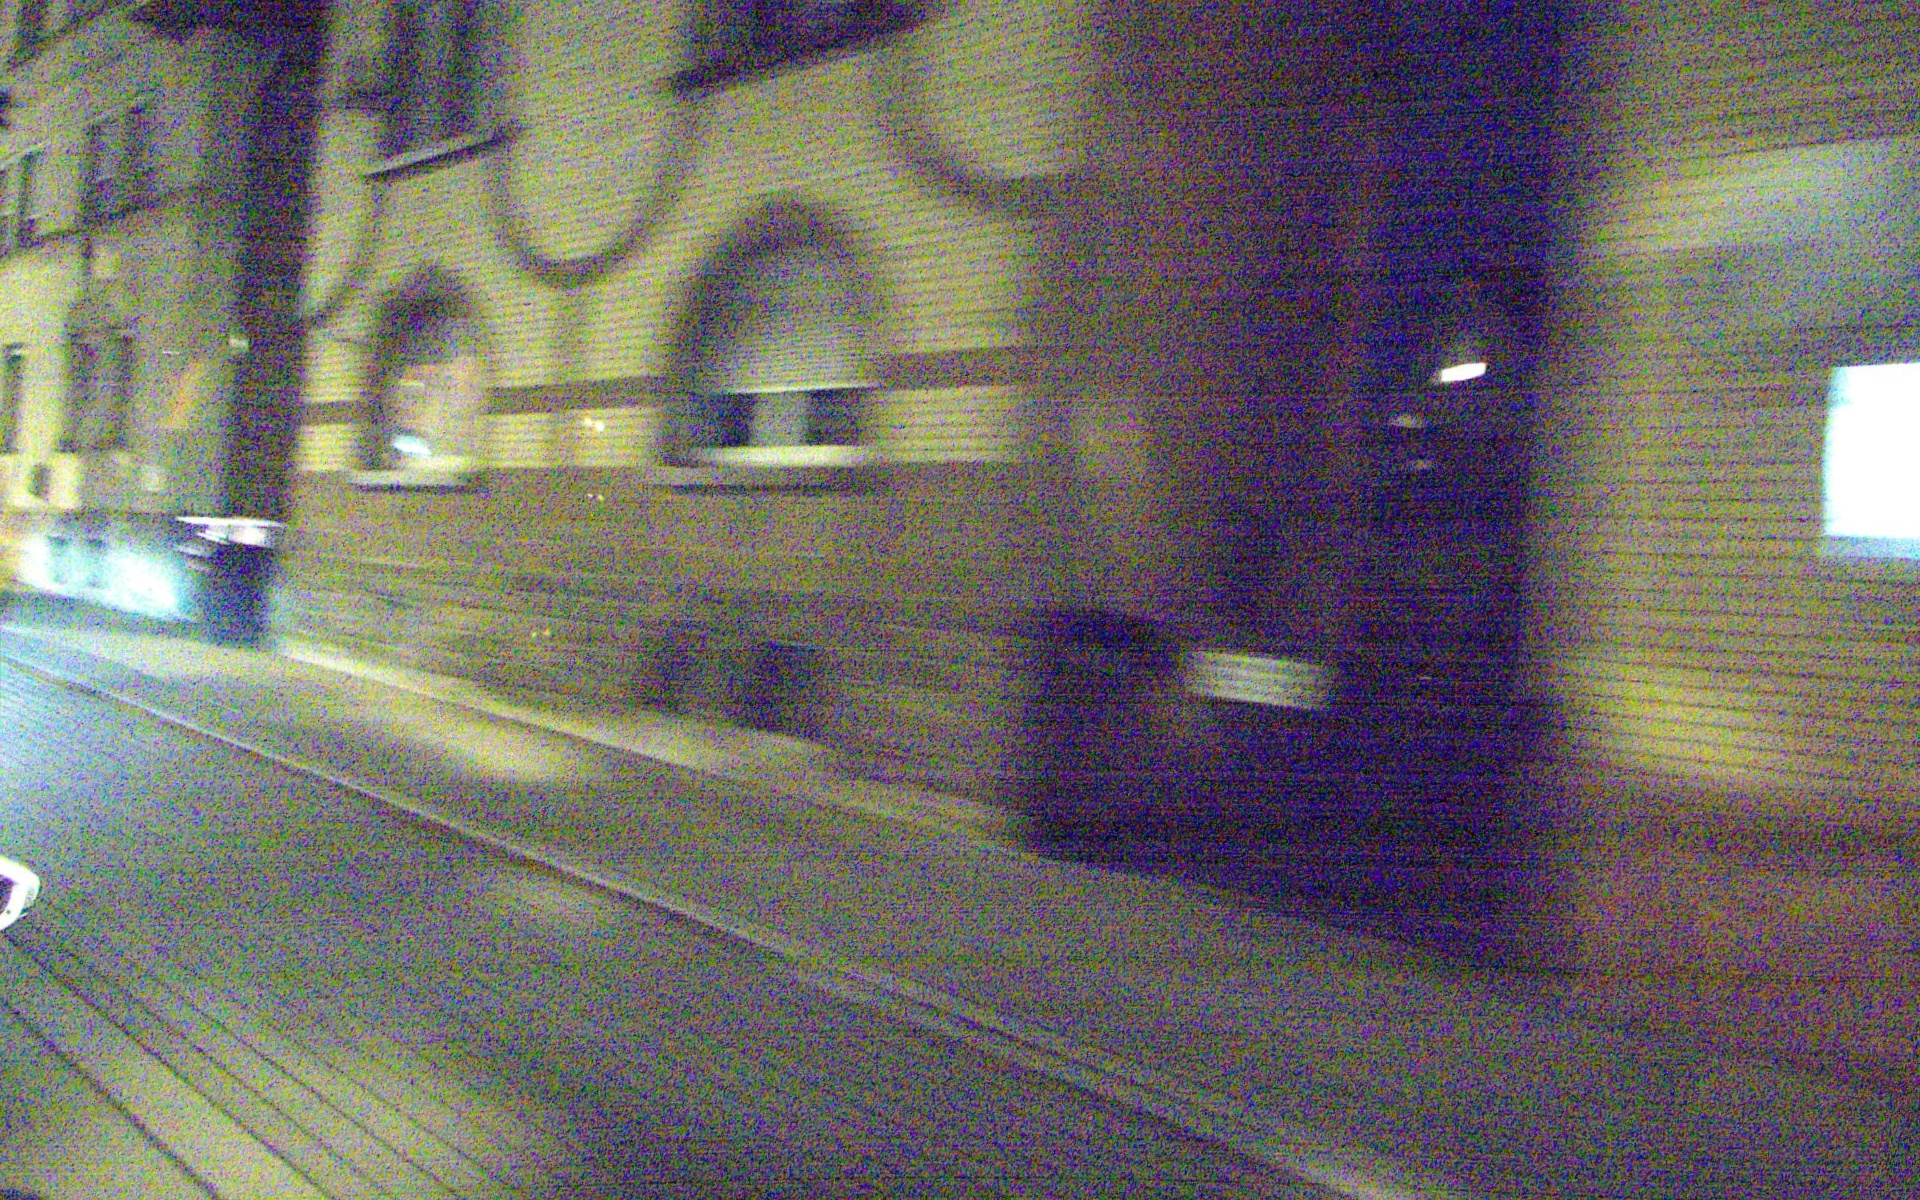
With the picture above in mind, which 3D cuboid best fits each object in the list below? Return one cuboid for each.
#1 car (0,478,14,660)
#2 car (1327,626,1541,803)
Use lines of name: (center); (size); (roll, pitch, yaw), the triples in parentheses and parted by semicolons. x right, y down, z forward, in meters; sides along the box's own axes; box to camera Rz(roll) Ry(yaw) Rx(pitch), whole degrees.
car: (-10.014, -0.509, 8.624); (4.012, 1.495, 1.764); (8, 2, 32)
car: (5.197, 1.121, 10.826); (1.664, 1.418, 3.218); (6, 0, 31)
